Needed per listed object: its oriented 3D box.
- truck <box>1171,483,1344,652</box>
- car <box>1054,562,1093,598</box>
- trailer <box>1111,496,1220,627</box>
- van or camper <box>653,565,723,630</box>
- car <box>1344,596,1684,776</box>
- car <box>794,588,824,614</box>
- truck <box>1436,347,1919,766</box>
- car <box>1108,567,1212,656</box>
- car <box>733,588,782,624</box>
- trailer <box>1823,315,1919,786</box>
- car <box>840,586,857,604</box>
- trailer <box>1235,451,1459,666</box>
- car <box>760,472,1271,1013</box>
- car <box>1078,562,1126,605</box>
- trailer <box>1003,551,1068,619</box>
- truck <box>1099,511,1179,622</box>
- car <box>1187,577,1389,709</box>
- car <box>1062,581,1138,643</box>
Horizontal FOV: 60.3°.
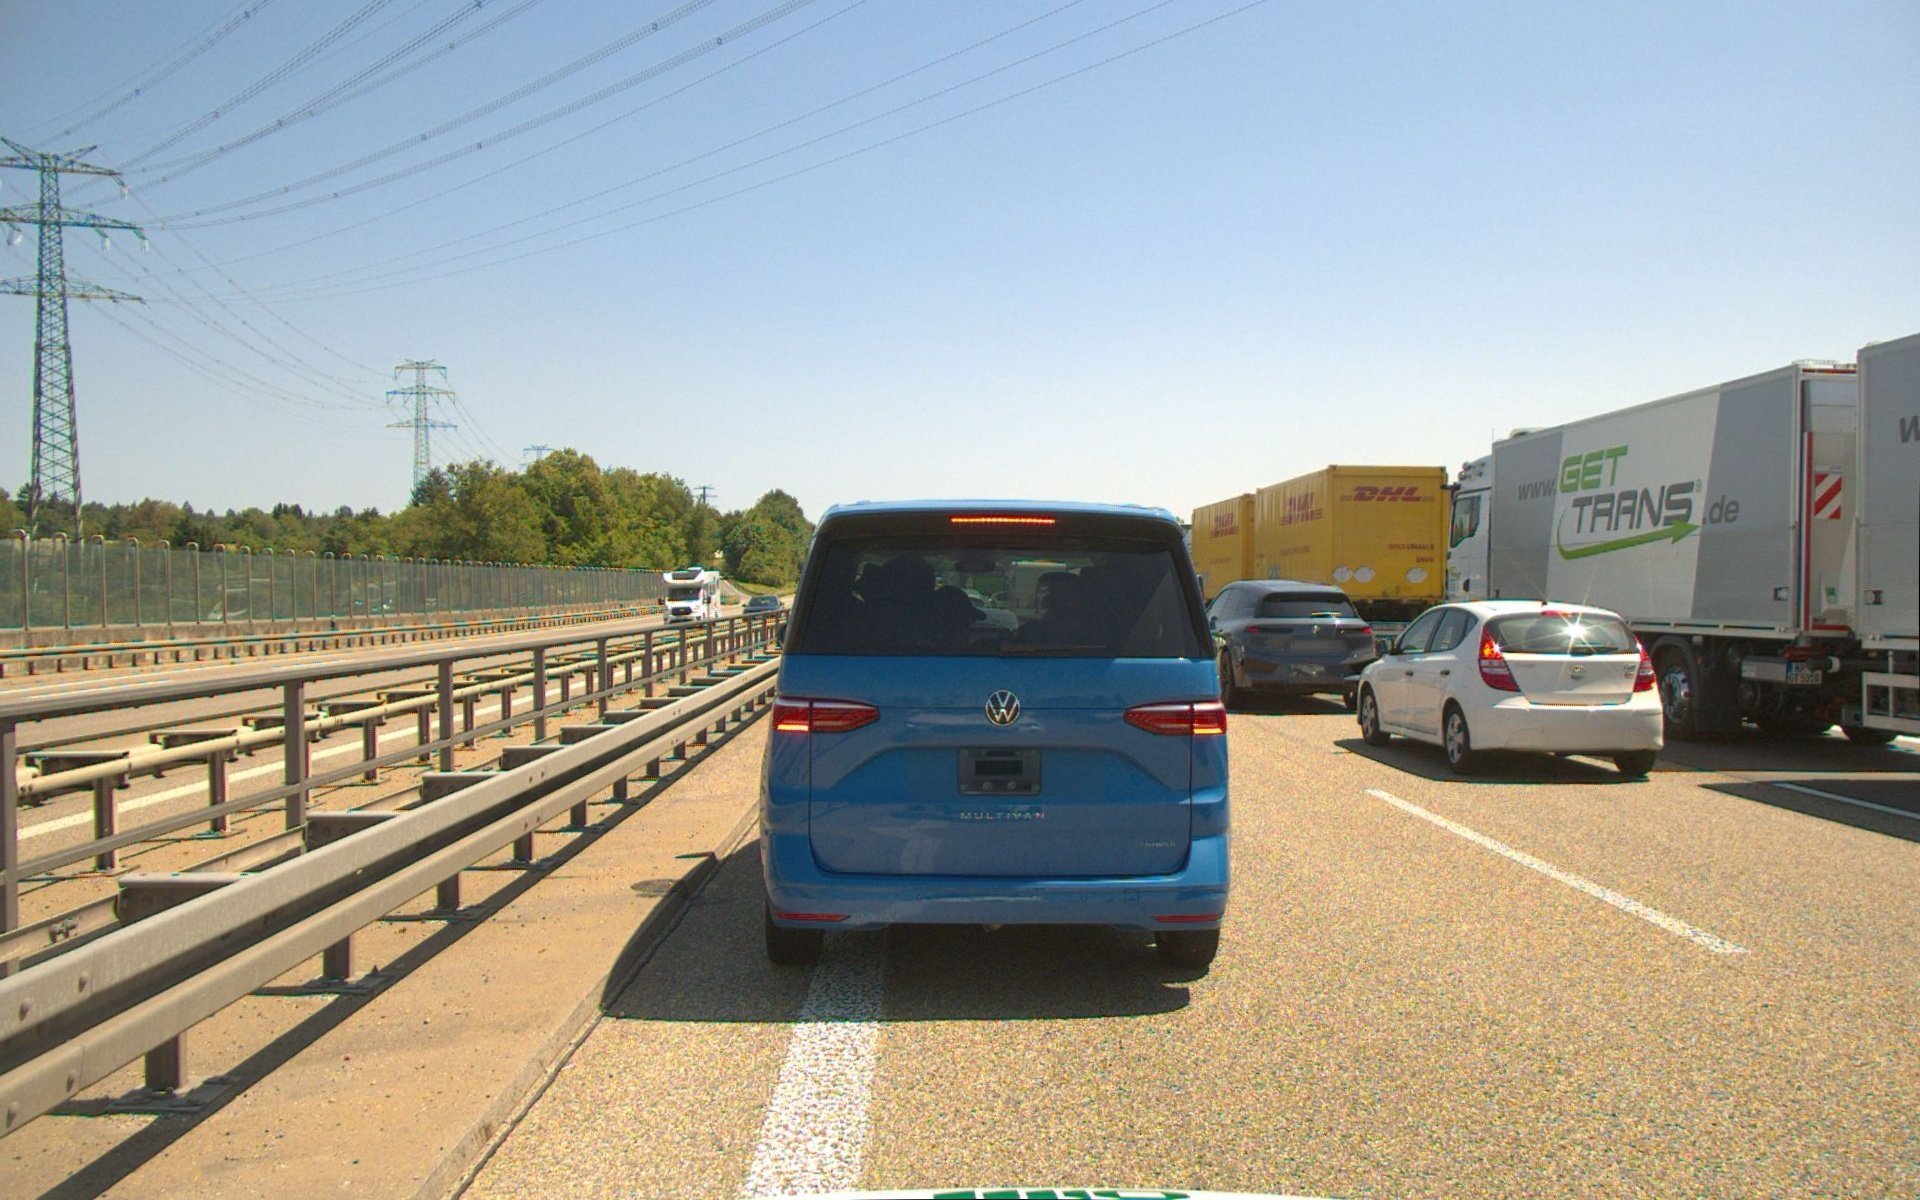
[{"bbox_3d":[8.370,-0.838,48.129,2.778,4.317,11.007,1,0,-1],"label":"truck"},{"bbox_3d":[6.774,-1.185,98.865,1.953,2.049,4.460,-1,0,-1],"label":"car"},{"bbox_3d":[7.792,-1.385,64.301,2.583,4.595,11.299,1,0,-1],"label":"trailer"},{"bbox_3d":[-13.746,-0.121,84.063,2.373,3.076,7.025,-2,0,-1],"label":"van or camper"},{"bbox_3d":[5.072,0.702,15.786,1.752,1.481,4.292,0,0,-1],"label":"car"},{"bbox_3d":[-11.010,0.082,120.725,1.829,1.729,4.429,-3,1,-1],"label":"car"},{"bbox_3d":[8.797,-0.413,20.165,2.603,3.711,11.007,0,0,-1],"label":"truck"},{"bbox_3d":[4.743,0.246,39.791,1.922,2.028,4.292,0,0,-1],"label":"car"},{"bbox_3d":[-9.876,0.275,80.994,1.830,1.558,4.424,-4,0,-1],"label":"car"},{"bbox_3d":[9.051,-0.384,10.672,2.643,3.765,8.012,0,0,-1],"label":"trailer"},{"bbox_3d":[-14.021,-0.619,208.600,1.825,2.168,4.268,-3,0,0],"label":"car"},{"bbox_3d":[8.616,-0.846,38.099,2.806,4.313,9.009,1,0,-1],"label":"trailer"},{"bbox_3d":[0.174,0.506,7.897,1.783,1.890,4.074,1,0,-1],"label":"car"},{"bbox_3d":[6.951,-0.792,81.255,1.953,2.049,3.999,1,0,-1],"label":"car"},{"bbox_3d":[3.544,-0.655,80.273,2.517,3.042,10.661,1,0,-1],"label":"trailer"},{"bbox_3d":[7.678,-1.374,71.816,2.613,4.562,6.848,1,0,-1],"label":"truck"},{"bbox_3d":[4.475,0.536,23.214,1.922,1.673,4.292,0,0,-1],"label":"car"},{"bbox_3d":[4.302,0.342,51.265,1.953,1.847,3.999,0,0,-1],"label":"car"}]
